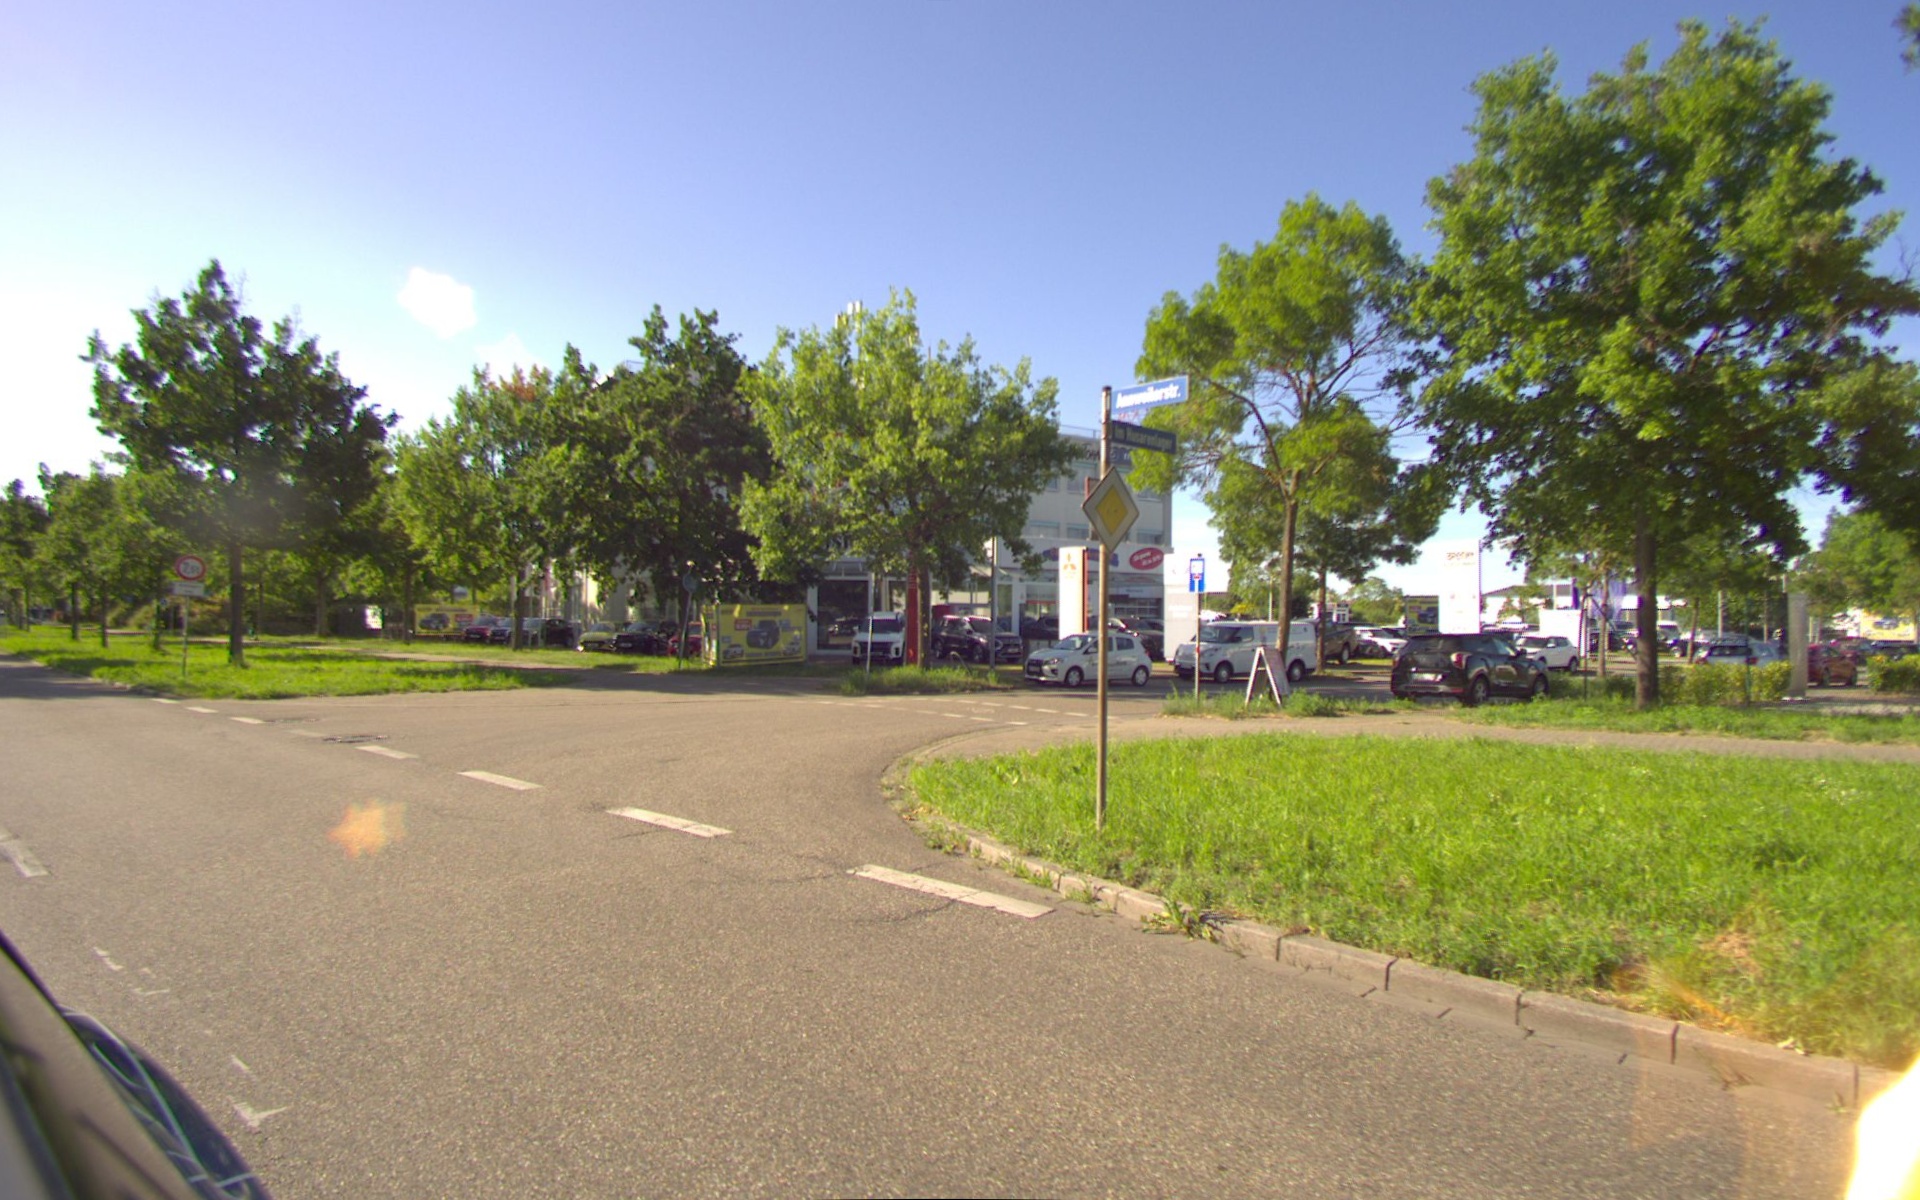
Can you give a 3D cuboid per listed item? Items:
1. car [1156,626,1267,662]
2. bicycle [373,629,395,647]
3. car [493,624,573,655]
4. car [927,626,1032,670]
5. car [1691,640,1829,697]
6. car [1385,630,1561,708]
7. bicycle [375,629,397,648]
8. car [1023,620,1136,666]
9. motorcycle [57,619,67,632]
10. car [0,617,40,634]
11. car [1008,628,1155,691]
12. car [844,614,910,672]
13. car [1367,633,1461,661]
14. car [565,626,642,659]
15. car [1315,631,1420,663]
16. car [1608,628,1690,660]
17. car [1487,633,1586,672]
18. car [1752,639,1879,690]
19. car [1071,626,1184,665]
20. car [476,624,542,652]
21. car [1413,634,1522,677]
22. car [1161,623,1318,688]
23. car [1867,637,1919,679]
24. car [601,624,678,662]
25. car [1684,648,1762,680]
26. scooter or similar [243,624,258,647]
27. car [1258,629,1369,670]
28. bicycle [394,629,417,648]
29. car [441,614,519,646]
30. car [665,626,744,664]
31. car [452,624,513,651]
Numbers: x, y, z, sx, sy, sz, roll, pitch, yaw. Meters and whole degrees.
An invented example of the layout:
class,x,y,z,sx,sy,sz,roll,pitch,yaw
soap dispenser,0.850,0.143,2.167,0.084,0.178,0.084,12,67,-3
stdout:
class,x,y,z,sx,sy,sz,roll,pitch,yaw
car,11.632,1.986,47.028,1.967,1.574,4.883,2,-2,-36
bicycle,-34.879,2.285,61.257,1.891,1.096,0.632,-1,-2,43
car,-21.940,2.034,52.125,1.784,1.523,3.982,-1,-2,14
car,0.703,1.817,39.364,1.967,1.583,4.179,2,-2,-36
car,24.448,2.049,30.907,3.931,1.588,1.807,0,-2,-28
car,11.164,1.435,22.001,3.619,1.544,1.827,1,-2,-33
bicycle,-34.069,2.267,60.062,1.891,1.096,0.632,-1,-2,43
car,4.918,1.758,42.358,1.967,1.826,4.883,1,-2,-35
motorcycle,-102.472,2.934,115.493,0.729,1.443,1.993,-3,1,-44
car,-91.528,2.479,97.126,2.191,1.570,4.577,-2,-1,41
car,3.424,1.623,28.388,3.691,1.630,1.969,1,-2,-33
car,-3.017,1.575,37.815,1.973,2.029,4.856,0,-2,1
car,27.348,2.826,61.104,1.967,1.574,4.883,2,-2,-36
car,-15.915,1.882,45.377,1.973,1.412,3.951,0,-2,2
car,21.624,2.460,53.867,1.967,1.574,4.883,2,-2,-36
car,45.245,2.831,66.531,1.966,2.029,4.011,1,-2,-33
car,23.968,2.153,42.039,3.931,1.523,1.806,0,-2,-30
car,28.104,2.076,33.237,3.931,1.523,1.807,0,-2,-28
car,7.193,1.925,44.009,1.967,1.574,4.883,2,-2,-36
car,-24.217,2.031,54.467,1.776,1.459,3.999,0,-2,0
car,19.779,2.132,39.435,3.931,1.523,1.807,0,-2,-28
car,8.951,1.713,32.253,4.940,1.921,1.947,1,-2,-31
car,37.393,2.210,39.373,3.931,1.523,1.807,0,-2,-28
car,-13.495,1.787,42.877,1.871,1.550,4.167,0,-2,2
car,39.924,3.325,52.957,3.931,1.523,1.806,0,-2,-30
scooter or similar,-39.813,1.975,56.768,1.441,1.289,0.390,-1,-2,44
car,14.365,1.956,41.003,4.793,1.574,2.004,2,-2,-38
bicycle,-33.176,2.279,60.571,1.891,1.096,0.632,-1,-2,43
car,-29.171,1.814,61.560,3.964,1.797,2.030,-1,-1,-36
car,-10.554,1.839,42.039,1.974,1.502,4.164,0,-2,4
car,-26.838,2.068,56.999,1.774,1.459,4.003,0,-2,-4
